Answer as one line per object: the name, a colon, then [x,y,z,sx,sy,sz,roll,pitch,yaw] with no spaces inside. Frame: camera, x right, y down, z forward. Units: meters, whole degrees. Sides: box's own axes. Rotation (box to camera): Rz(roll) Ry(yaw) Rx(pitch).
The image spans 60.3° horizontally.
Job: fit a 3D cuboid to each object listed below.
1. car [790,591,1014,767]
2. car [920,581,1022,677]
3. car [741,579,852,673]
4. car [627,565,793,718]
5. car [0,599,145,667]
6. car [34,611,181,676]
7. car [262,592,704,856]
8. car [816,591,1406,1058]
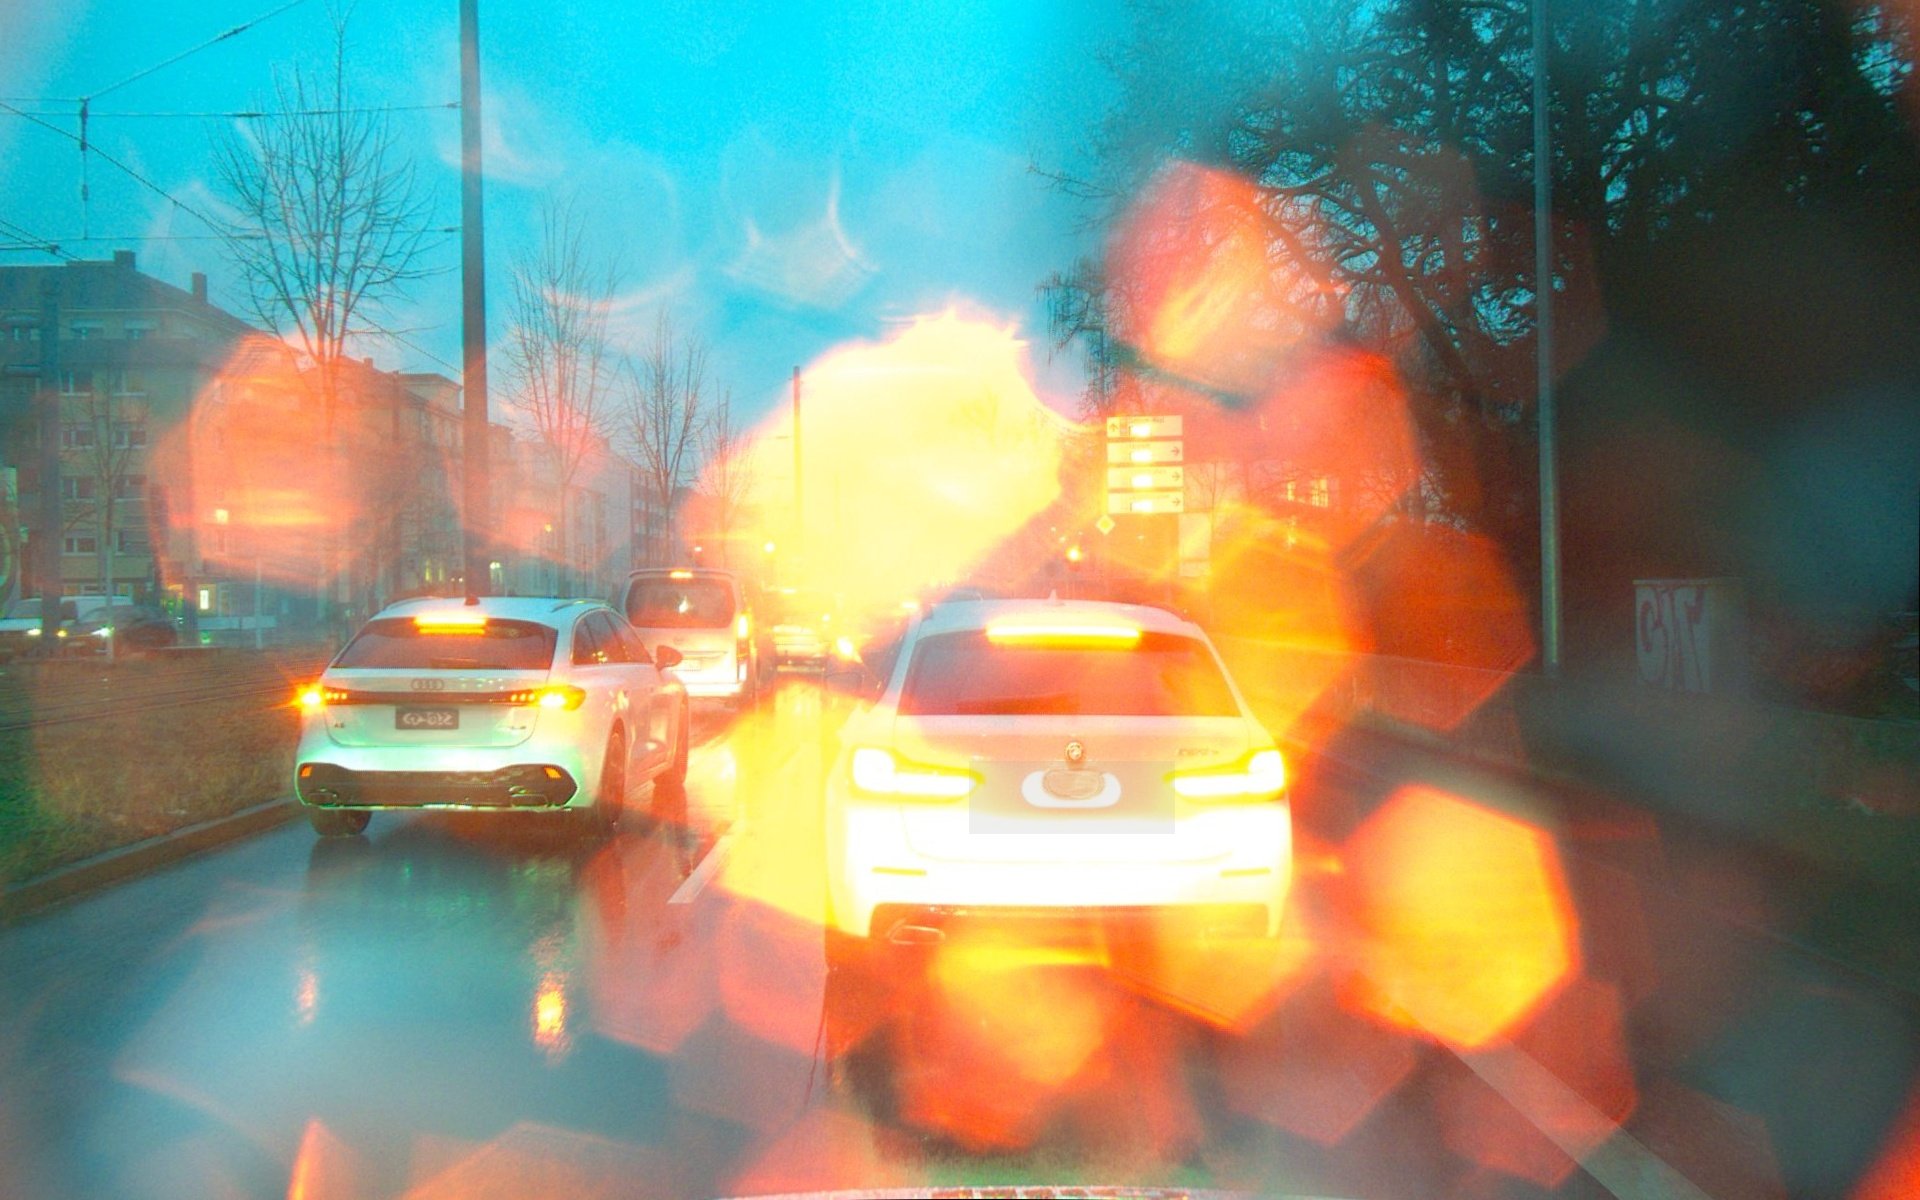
car: [-0.523,0.660,16.101,1.896,1.483,4.162,0,0,-1]
car: [0.169,0.490,31.021,1.770,1.674,3.999,0,0,-1]
car: [-3.048,0.458,31.527,1.770,1.674,3.999,0,0,-1]
car: [-3.125,0.487,21.448,1.758,1.766,4.533,0,0,-4]
car: [-28.075,0.979,51.641,1.951,1.945,5.168,-1,0,11]
car: [-24.099,1.200,46.946,1.857,1.662,4.579,-1,0,-1]
car: [-2.945,0.679,11.296,1.809,1.430,4.612,0,0,-2]
car: [0.473,0.728,7.561,1.958,1.534,4.162,0,0,-1]
